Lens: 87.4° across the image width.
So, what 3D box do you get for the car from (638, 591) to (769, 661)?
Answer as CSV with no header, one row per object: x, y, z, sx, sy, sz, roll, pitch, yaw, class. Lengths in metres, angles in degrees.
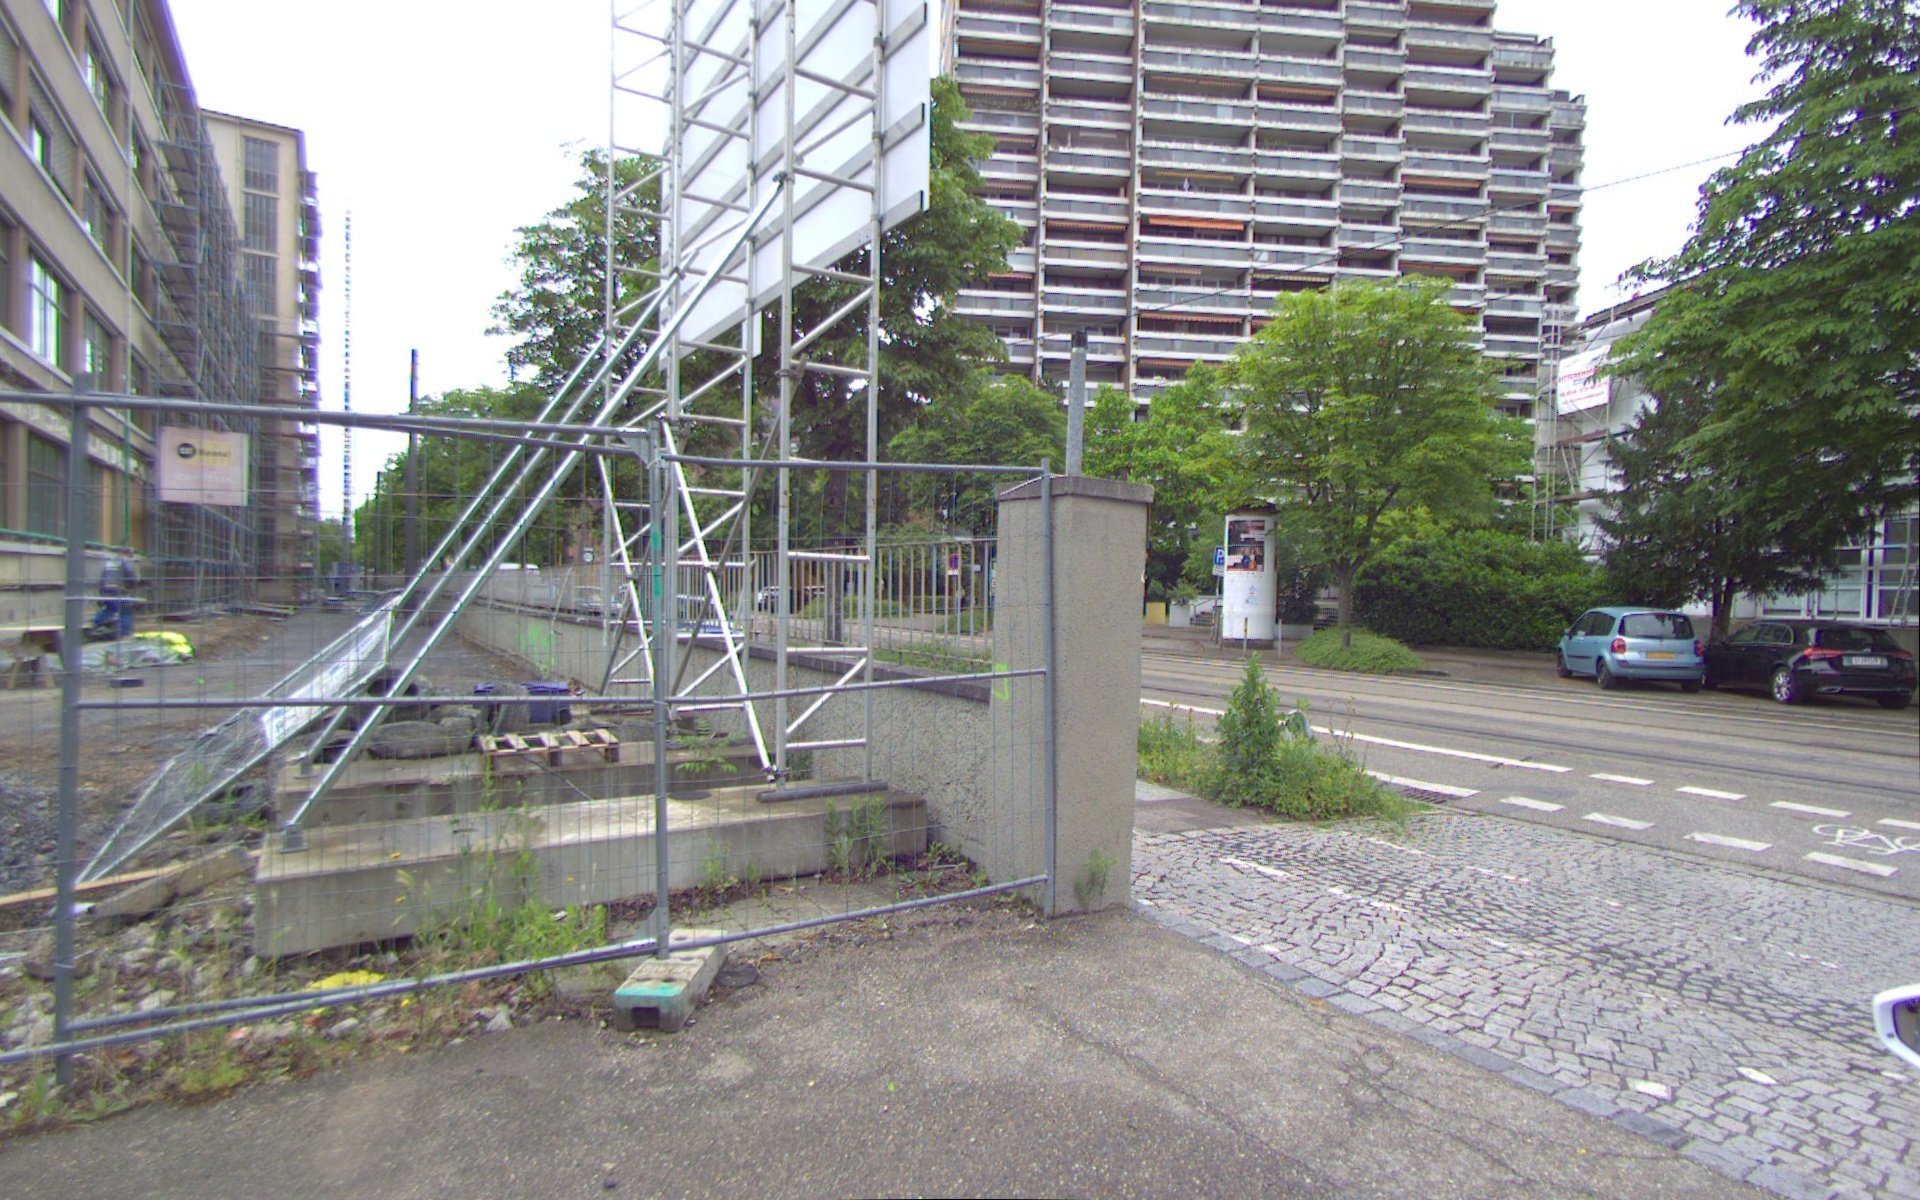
-6.013,0.546,23.262,1.813,1.437,3.965,1,0,-32,car

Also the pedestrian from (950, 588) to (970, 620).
0.000,0.198,49.164,0.838,1.548,0.515,1,1,-44,pedestrian

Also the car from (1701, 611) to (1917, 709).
14.945,0.990,17.909,1.586,1.531,3.339,1,0,13,car

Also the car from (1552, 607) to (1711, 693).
13.488,0.936,20.401,1.586,1.557,3.339,1,0,13,car

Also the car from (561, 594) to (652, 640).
-11.448,0.510,32.402,1.978,1.328,3.965,1,1,-32,car

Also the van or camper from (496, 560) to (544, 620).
-21.447,-0.481,48.884,1.974,2.789,3.973,1,0,-26,van or camper

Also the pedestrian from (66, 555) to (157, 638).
-15.484,-0.050,18.364,0.967,1.457,0.927,1,0,-18,pedestrian
